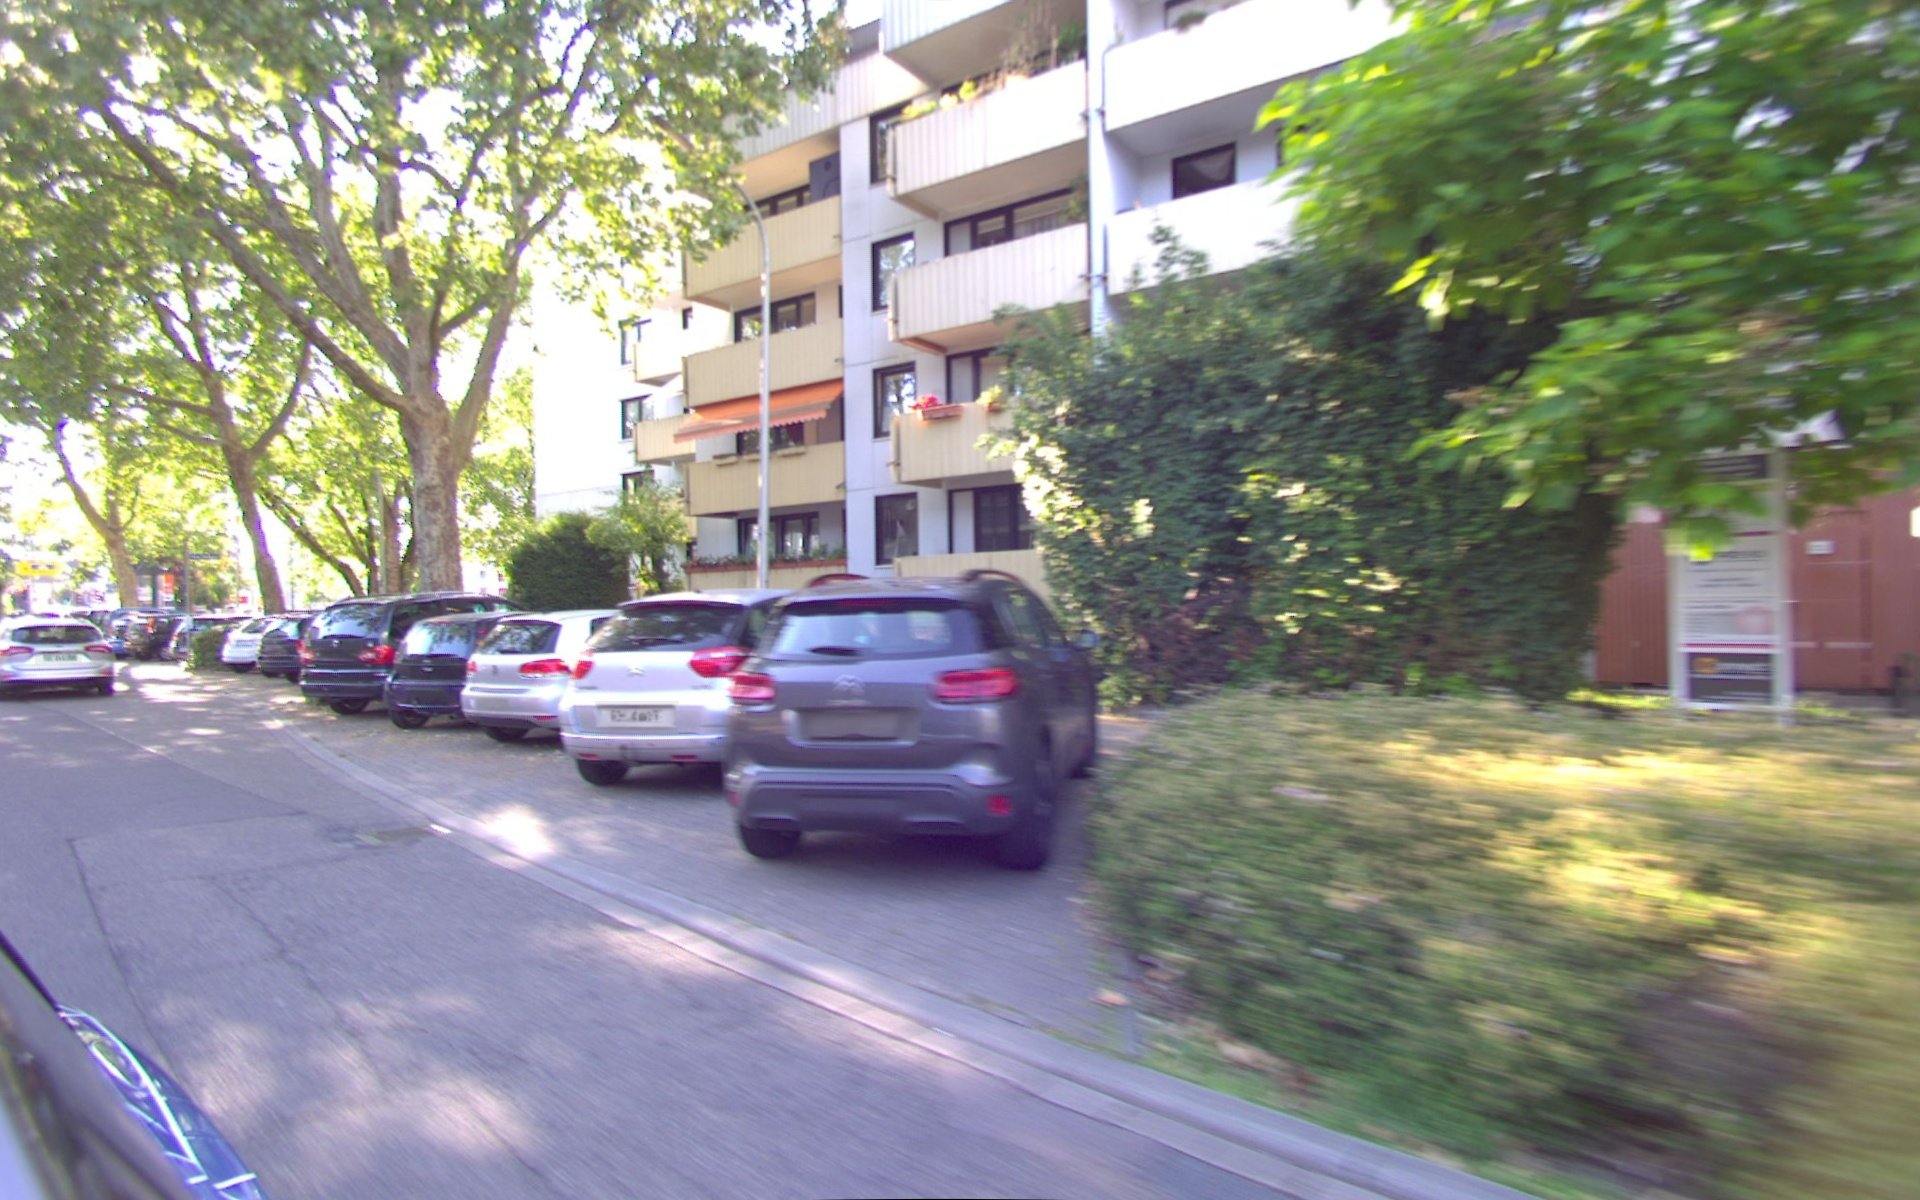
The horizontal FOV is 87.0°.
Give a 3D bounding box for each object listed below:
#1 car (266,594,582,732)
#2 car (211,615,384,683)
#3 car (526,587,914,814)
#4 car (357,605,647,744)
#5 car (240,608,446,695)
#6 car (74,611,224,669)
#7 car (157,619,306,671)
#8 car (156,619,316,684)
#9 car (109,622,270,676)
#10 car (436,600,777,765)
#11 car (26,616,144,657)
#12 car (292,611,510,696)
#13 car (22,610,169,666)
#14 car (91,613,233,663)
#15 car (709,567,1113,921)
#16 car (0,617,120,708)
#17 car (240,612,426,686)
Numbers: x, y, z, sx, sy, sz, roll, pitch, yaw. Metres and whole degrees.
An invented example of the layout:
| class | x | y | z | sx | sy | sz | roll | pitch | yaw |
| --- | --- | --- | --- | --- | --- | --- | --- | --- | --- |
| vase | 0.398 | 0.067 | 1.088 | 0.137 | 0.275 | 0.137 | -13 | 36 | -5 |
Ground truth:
| class | x | y | z | sx | sy | sz | roll | pitch | yaw |
| --- | --- | --- | --- | --- | --- | --- | --- | --- | --- |
| car | -8.128 | 0.851 | 15.864 | 1.891 | 1.788 | 4.244 | -1 | 1 | 18 |
| car | -17.461 | 1.245 | 26.876 | 1.693 | 1.572 | 3.633 | -1 | 1 | 14 |
| car | -1.973 | 0.734 | 9.693 | 1.762 | 1.652 | 4.116 | -1 | 1 | 17 |
| car | -6.106 | 0.912 | 13.973 | 1.685 | 1.572 | 3.631 | -1 | 1 | 16 |
| car | -13.587 | 1.067 | 22.510 | 1.640 | 1.674 | 3.622 | -1 | 1 | 23 |
| car | -30.013 | 1.439 | 37.585 | 1.823 | 1.896 | 3.966 | -1 | 1 | 25 |
| car | -23.610 | 1.415 | 32.947 | 1.693 | 1.472 | 3.625 | -1 | 1 | 20 |
| car | -21.321 | 1.470 | 29.954 | 1.635 | 1.674 | 3.632 | -1 | 1 | 15 |
| car | -25.995 | 1.607 | 34.289 | 1.789 | 1.637 | 3.964 | -1 | 0 | 27 |
| car | -4.044 | 0.841 | 12.128 | 1.693 | 1.572 | 3.613 | -1 | 1 | 30 |
| car | -39.940 | 1.654 | 46.334 | 1.696 | 1.654 | 3.992 | -1 | 1 | 7 |
| car | -11.504 | 1.061 | 21.084 | 1.765 | 1.505 | 3.633 | -2 | 0 | 23 |
| car | -32.680 | 1.401 | 38.399 | 1.701 | 1.900 | 3.981 | -1 | 1 | 15 |
| car | -27.964 | 1.299 | 35.599 | 1.640 | 1.572 | 3.572 | -1 | 1 | 23 |
| car | 0.008 | 0.666 | 6.902 | 1.683 | 1.674 | 3.943 | -1 | 1 | 14 |
| car | -17.697 | 1.129 | 19.460 | 4.623 | 1.548 | 1.878 | -1 | -3 | 44 |
| car | -15.402 | 1.142 | 25.040 | 1.640 | 1.572 | 3.622 | -1 | 1 | 23 |
